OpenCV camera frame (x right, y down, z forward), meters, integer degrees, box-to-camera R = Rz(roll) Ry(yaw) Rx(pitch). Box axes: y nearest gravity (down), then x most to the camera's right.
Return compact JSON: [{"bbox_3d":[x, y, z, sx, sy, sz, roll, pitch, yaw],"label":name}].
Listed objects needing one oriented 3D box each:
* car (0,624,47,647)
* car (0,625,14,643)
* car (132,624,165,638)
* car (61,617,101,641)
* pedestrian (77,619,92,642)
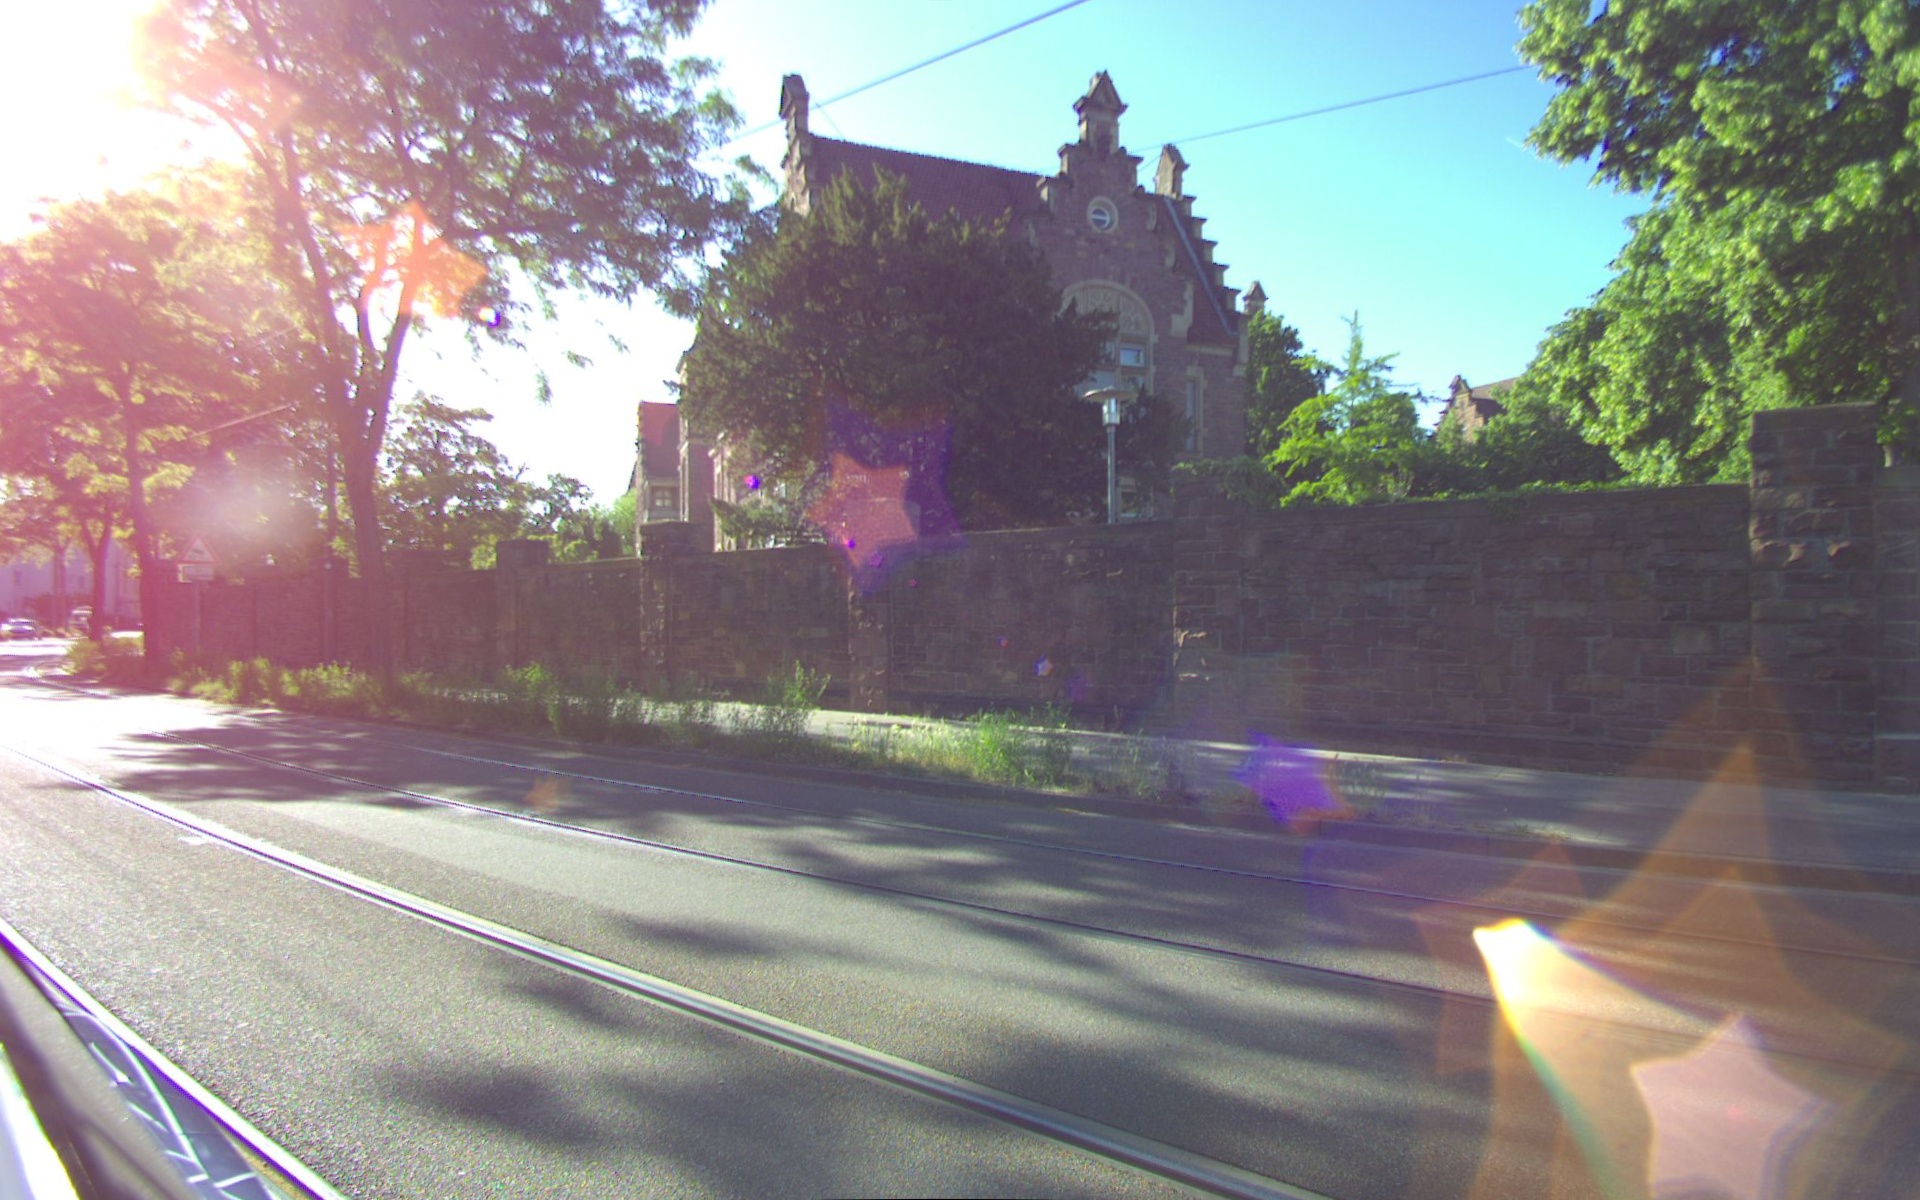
[{"bbox_3d":[-69.062,2.568,74.292,1.973,1.476,5.448,4,-3,-32],"label":"car"},{"bbox_3d":[-91.145,3.191,94.120,2.009,1.501,4.401,3,1,41],"label":"car"},{"bbox_3d":[-93.603,3.556,116.755,1.713,1.507,4.544,0,-1,-21],"label":"car"},{"bbox_3d":[-78.284,2.595,90.196,1.966,2.111,4.729,1,-2,-32],"label":"car"},{"bbox_3d":[-71.303,2.500,82.404,0.866,1.879,1.022,0,-1,-37],"label":"pedestrian"}]
